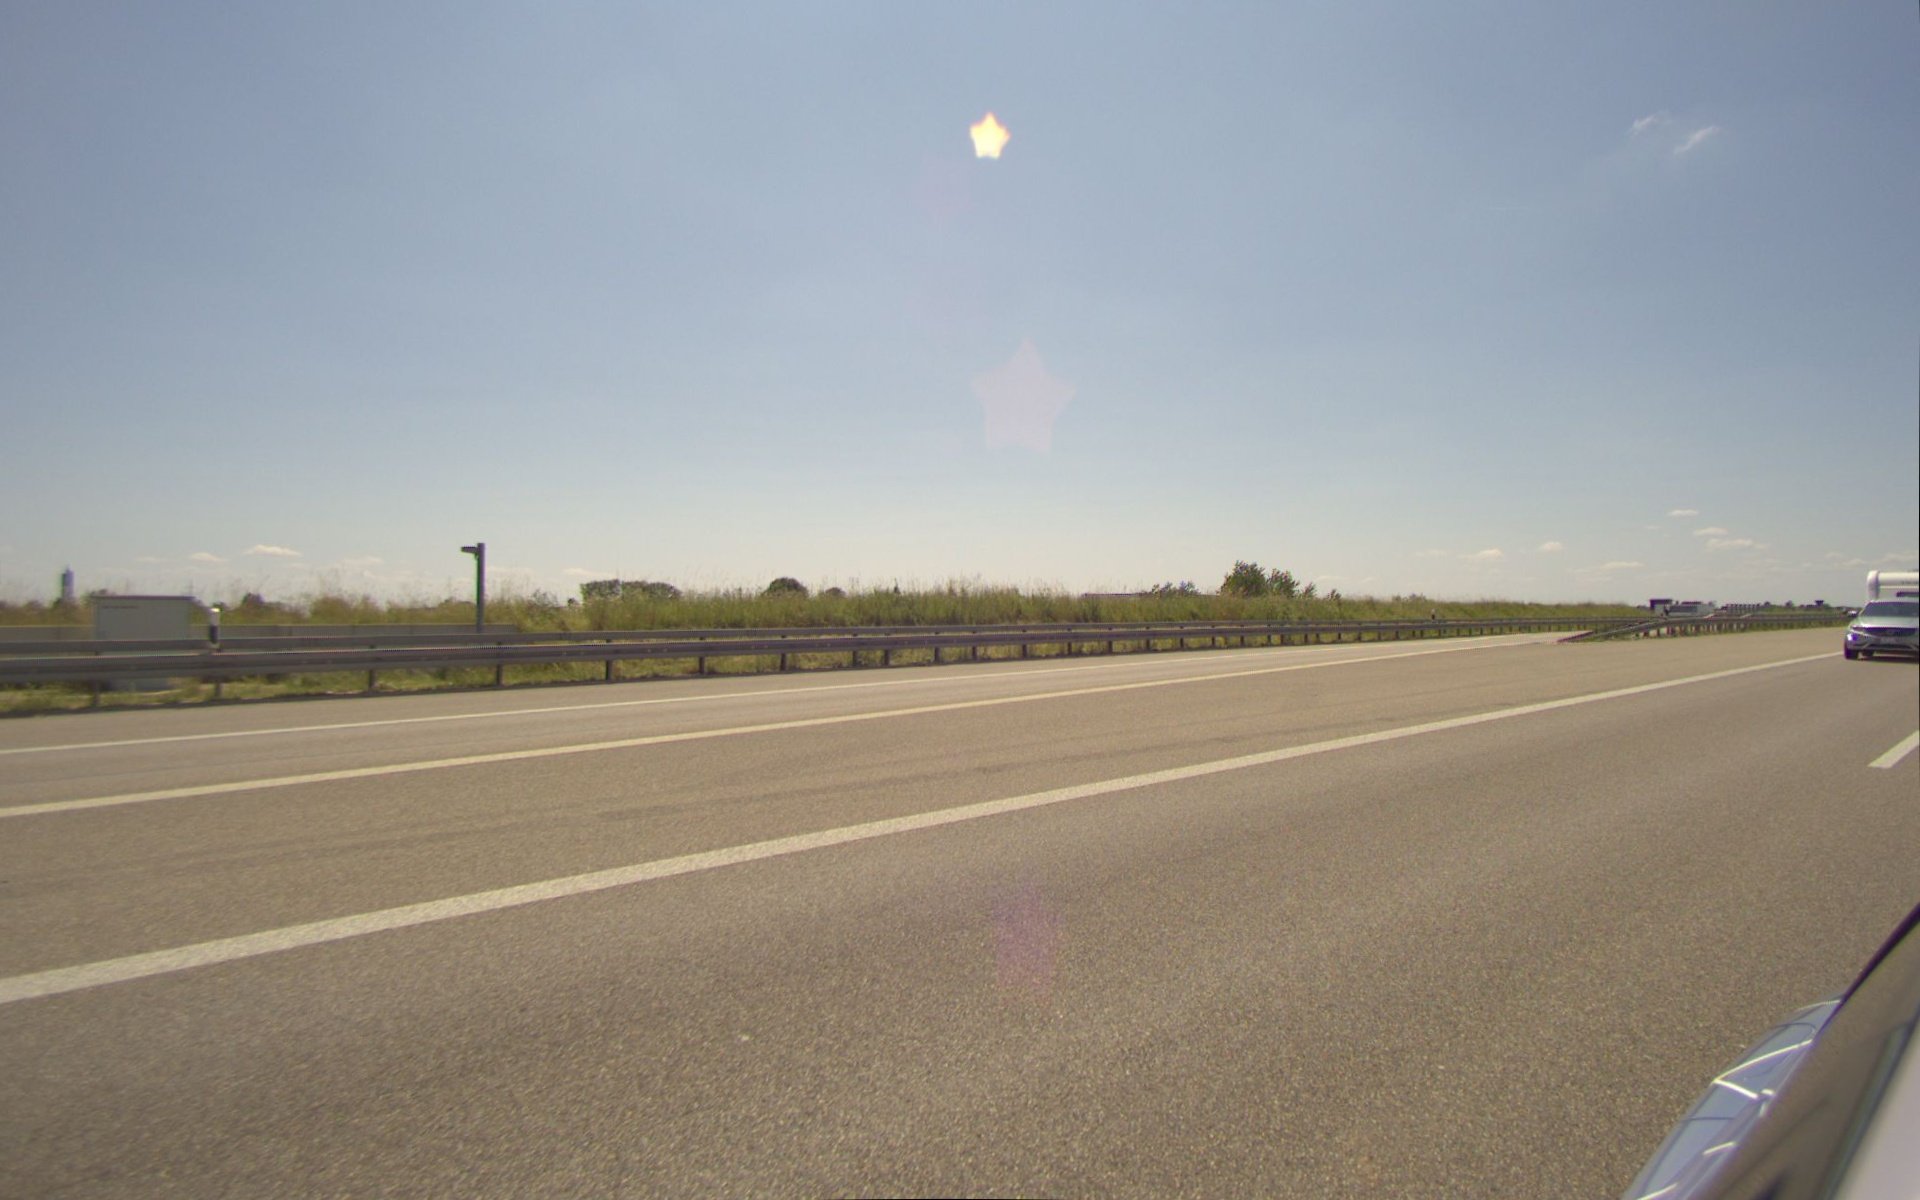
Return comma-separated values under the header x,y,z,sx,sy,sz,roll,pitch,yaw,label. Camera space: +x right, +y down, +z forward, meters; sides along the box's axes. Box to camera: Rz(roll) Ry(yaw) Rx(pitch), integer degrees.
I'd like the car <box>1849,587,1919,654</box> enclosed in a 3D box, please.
x,y,z,sx,sy,sz,roll,pitch,yaw,label
25.063,0.530,26.632,4.817,1.643,1.884,1,0,-41,car

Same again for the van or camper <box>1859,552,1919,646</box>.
x,y,z,sx,sy,sz,roll,pitch,yaw,label
29.631,0.031,30.735,7.679,2.626,2.517,1,-1,-41,van or camper
